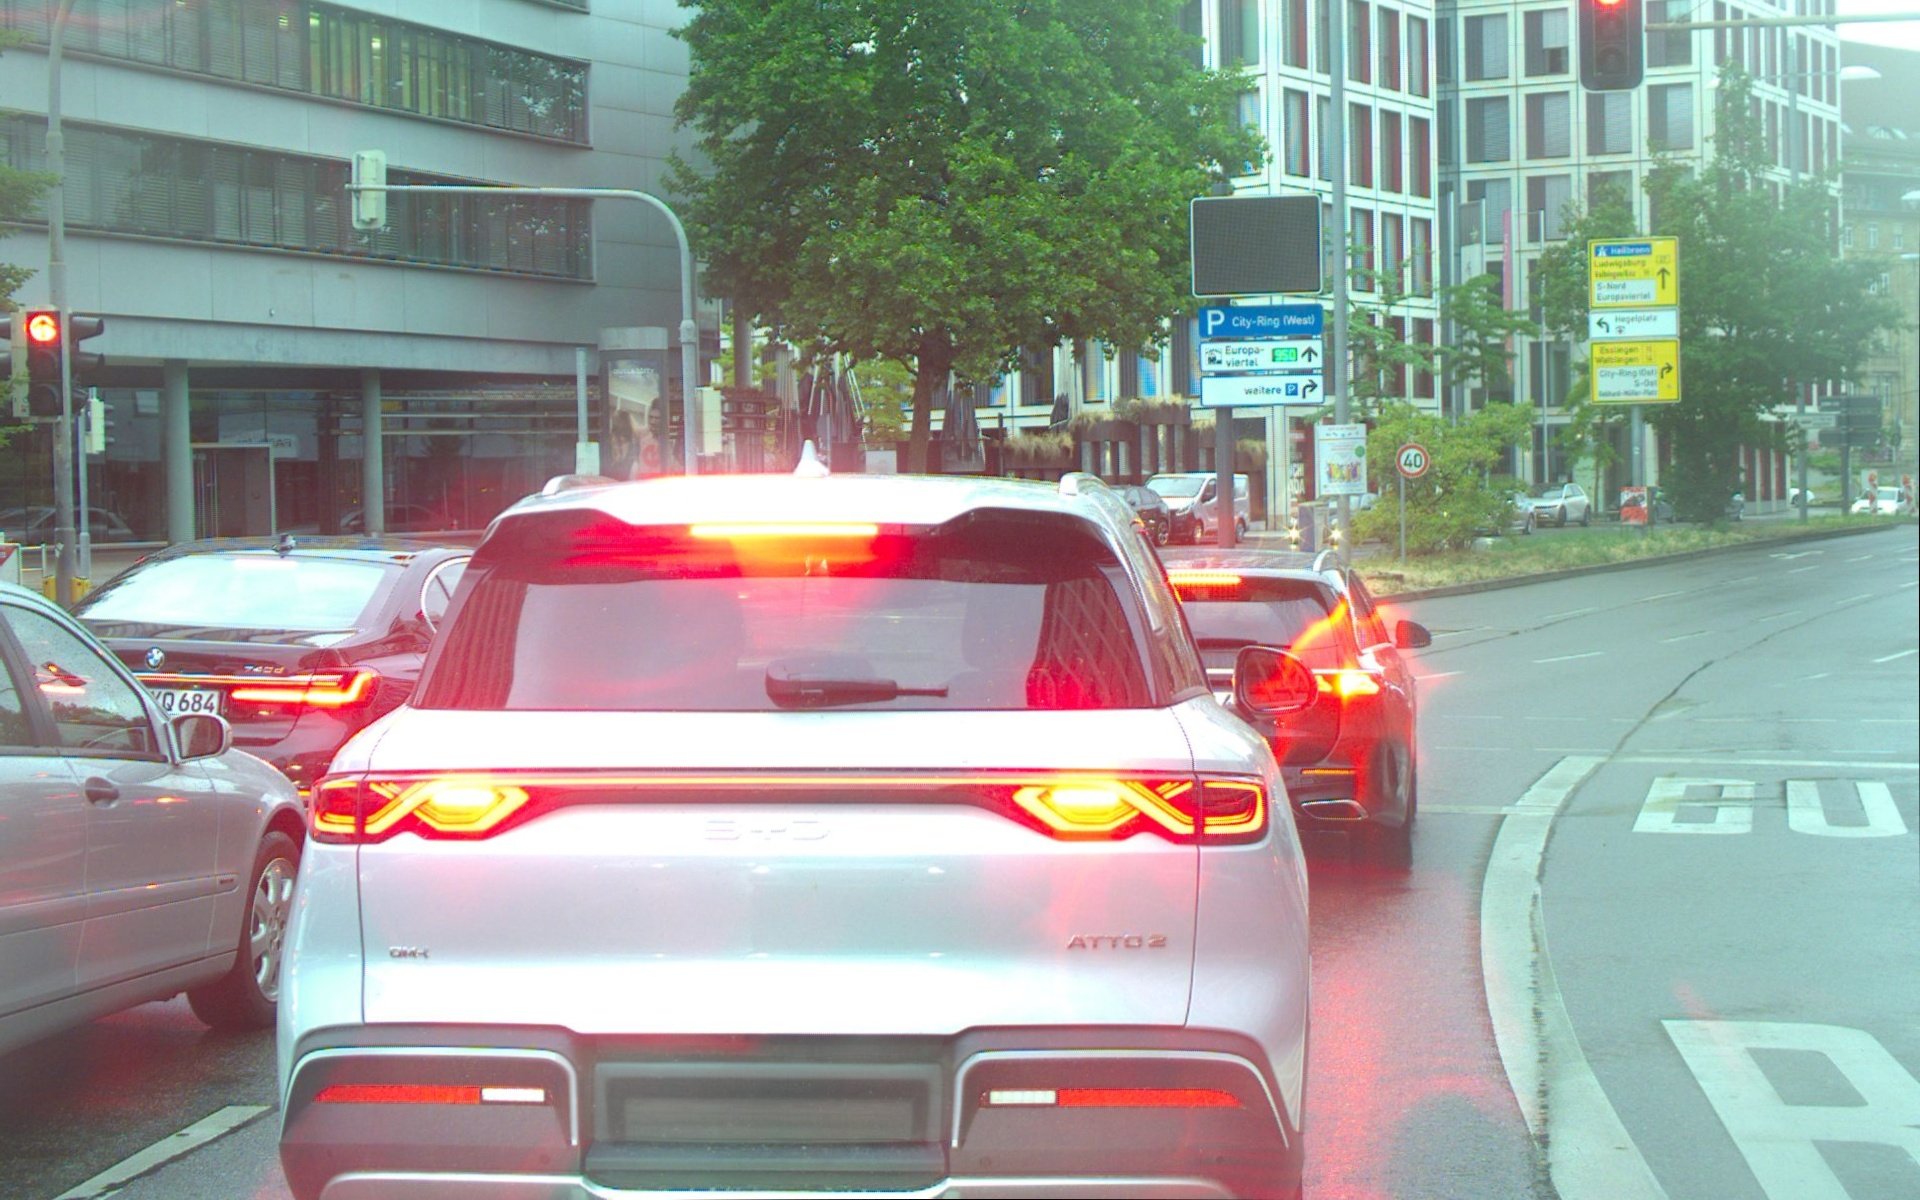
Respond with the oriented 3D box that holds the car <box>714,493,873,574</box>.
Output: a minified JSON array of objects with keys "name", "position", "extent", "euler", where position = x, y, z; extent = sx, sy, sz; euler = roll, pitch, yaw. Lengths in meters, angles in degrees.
[{"name":"car","position":[-3.346,-1.330,69.583],"extent":[1.640,1.565,3.713],"euler":[1,1,25]}]

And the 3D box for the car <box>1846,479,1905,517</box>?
[{"name":"car","position":[34.844,-3.891,130.830],"extent":[1.633,1.432,3.903],"euler":[0,2,23]}]

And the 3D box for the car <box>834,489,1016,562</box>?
[{"name":"car","position":[-0.708,-1.647,74.964],"extent":[1.816,1.505,5.189],"euler":[0,2,26]}]

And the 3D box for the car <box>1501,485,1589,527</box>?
[{"name":"car","position":[20.953,-3.368,123.002],"extent":[1.996,1.483,3.994],"euler":[0,2,27]}]

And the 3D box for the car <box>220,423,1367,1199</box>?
[{"name":"car","position":[-0.214,0.551,7.356],"extent":[1.776,1.673,4.000],"euler":[1,1,2]}]

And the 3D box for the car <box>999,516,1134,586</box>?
[{"name":"car","position":[2.552,-1.188,81.270],"extent":[1.633,1.553,4.588],"euler":[0,2,23]}]

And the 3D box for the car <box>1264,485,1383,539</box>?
[{"name":"car","position":[10.237,-2.480,96.671],"extent":[1.996,1.483,3.994],"euler":[0,2,27]}]

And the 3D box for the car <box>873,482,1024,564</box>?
[{"name":"car","position":[-0.194,-1.544,68.743],"extent":[1.645,1.575,4.081],"euler":[1,1,21]}]

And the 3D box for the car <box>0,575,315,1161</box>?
[{"name":"car","position":[-3.041,0.642,8.890],"extent":[1.571,1.402,4.108],"euler":[1,1,6]}]

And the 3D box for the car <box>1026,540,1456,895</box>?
[{"name":"car","position":[1.474,0.478,16.629],"extent":[1.694,1.481,3.998],"euler":[1,1,10]}]

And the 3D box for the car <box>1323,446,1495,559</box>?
[{"name":"car","position":[8.528,-1.811,64.947],"extent":[1.996,2.007,4.843],"euler":[1,1,23]}]

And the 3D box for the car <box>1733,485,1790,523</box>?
[{"name":"car","position":[38.157,-4.551,163.629],"extent":[1.609,1.735,3.439],"euler":[1,1,32]}]

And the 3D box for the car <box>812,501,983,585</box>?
[{"name":"car","position":[-1.032,-0.961,58.782],"extent":[1.692,1.380,3.865],"euler":[1,1,19]}]

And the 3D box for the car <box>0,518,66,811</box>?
[{"name":"car","position":[-5.875,0.324,16.267],"extent":[1.707,1.481,3.998],"euler":[1,1,9]}]

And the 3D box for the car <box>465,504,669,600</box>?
[{"name":"car","position":[-6.987,-0.876,61.504],"extent":[1.996,1.605,3.996],"euler":[2,2,20]}]

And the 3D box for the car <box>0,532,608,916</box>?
[{"name":"car","position":[-2.796,0.466,15.498],"extent":[1.571,1.481,3.999],"euler":[1,1,7]}]

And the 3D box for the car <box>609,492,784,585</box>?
[{"name":"car","position":[-4.504,-1.072,59.290],"extent":[1.645,1.530,4.149],"euler":[1,1,16]}]
